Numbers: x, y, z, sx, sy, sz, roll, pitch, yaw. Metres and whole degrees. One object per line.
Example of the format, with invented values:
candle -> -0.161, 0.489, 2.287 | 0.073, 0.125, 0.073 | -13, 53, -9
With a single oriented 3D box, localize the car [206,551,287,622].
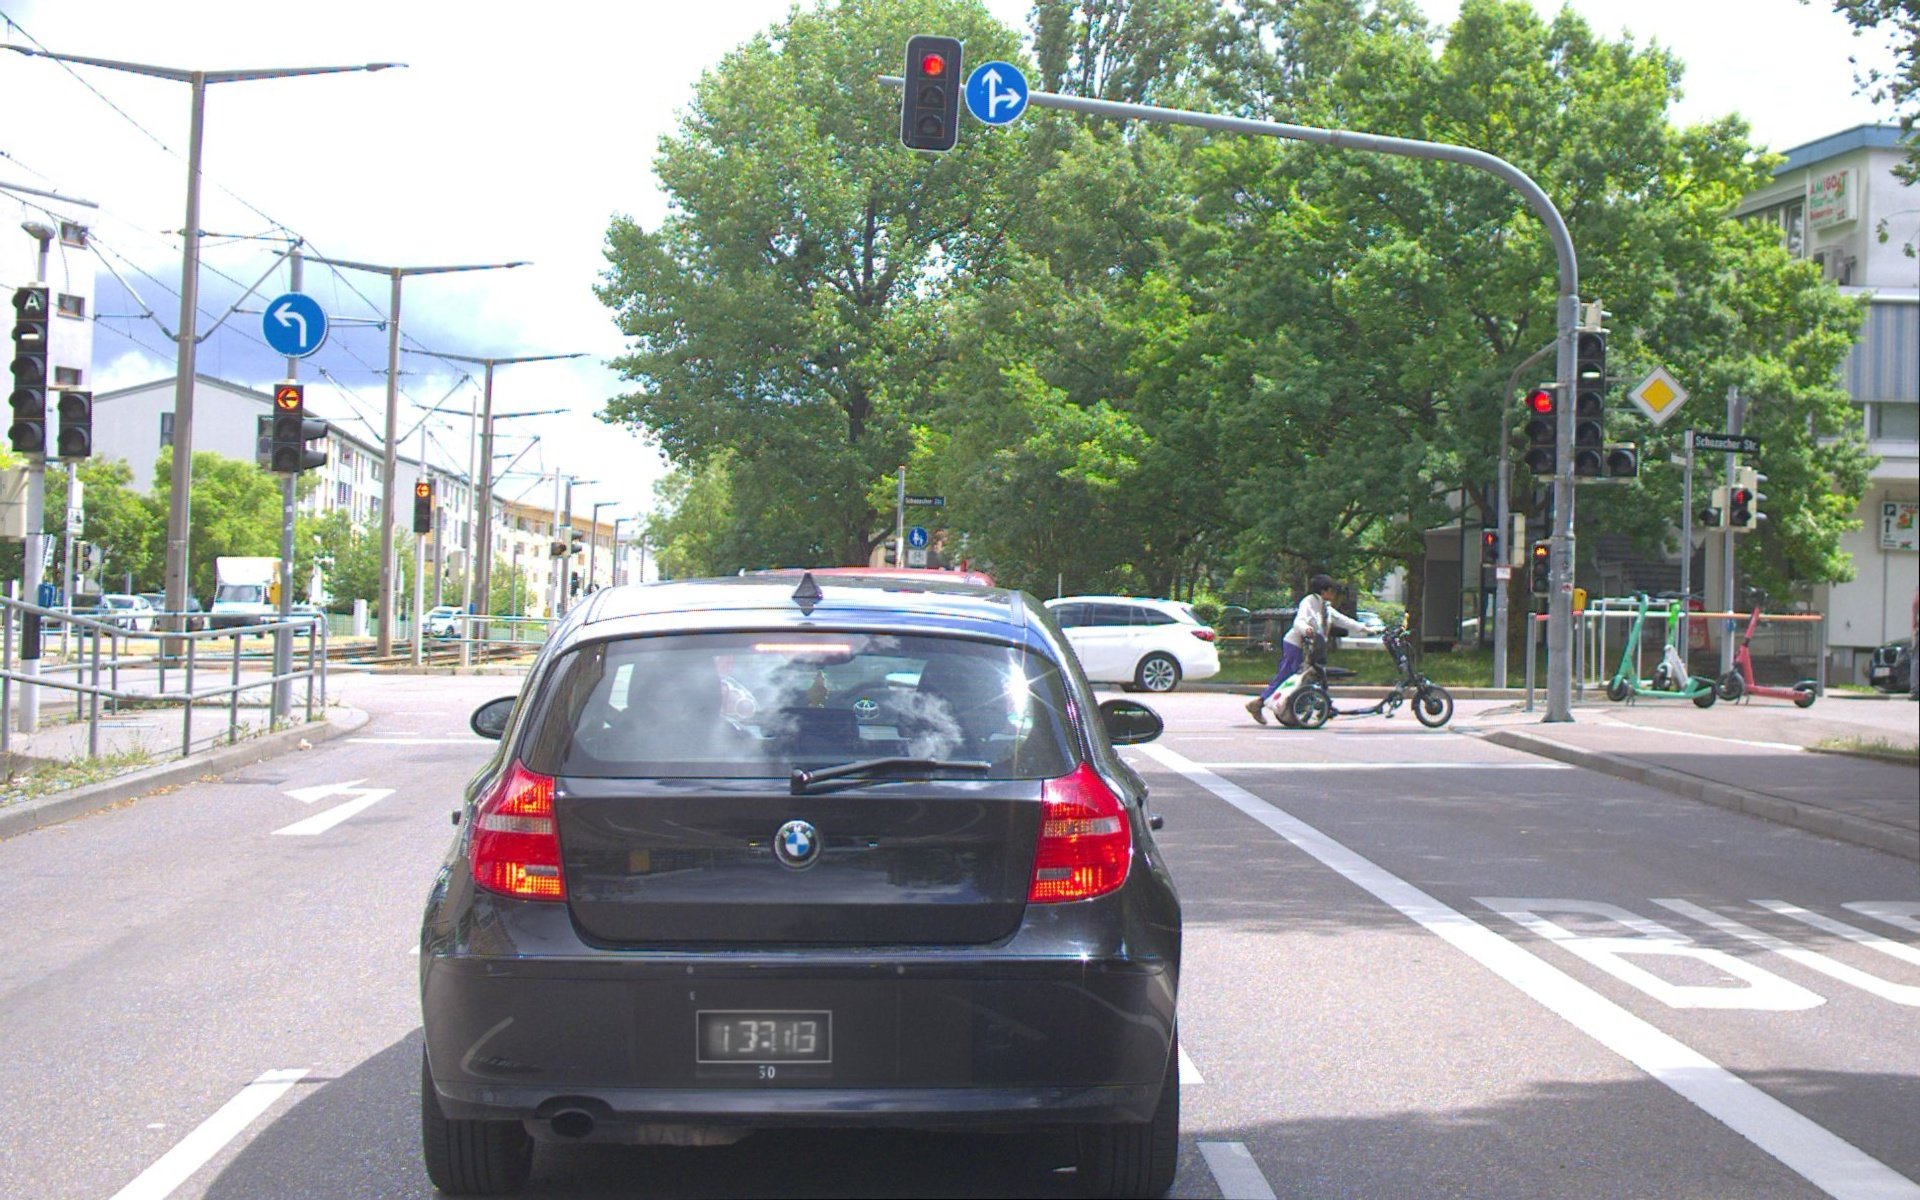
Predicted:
car -> -27.390, -0.549, 132.199 | 2.139, 2.631, 5.359 | 1, 1, -2

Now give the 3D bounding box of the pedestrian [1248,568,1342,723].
pedestrian -> 3.178, 0.424, 32.662 | 0.865, 1.438, 0.798 | 1, 1, 5

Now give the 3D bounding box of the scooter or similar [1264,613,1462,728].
scooter or similar -> 3.776, 0.659, 32.208 | 1.780, 1.047, 0.410 | 0, 1, -9

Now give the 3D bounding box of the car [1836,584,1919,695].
car -> 15.034, 0.588, 50.911 | 3.576, 1.595, 1.712 | 1, 0, -12

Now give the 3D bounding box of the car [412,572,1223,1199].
car -> -0.261, 0.655, 8.821 | 1.654, 1.414, 3.517 | 1, 1, 1

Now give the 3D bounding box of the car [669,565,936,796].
car -> -1.050, 0.490, 23.297 | 1.654, 1.414, 3.517 | 1, 1, -2

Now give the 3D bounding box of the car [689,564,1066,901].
car -> -0.351, 0.548, 16.465 | 1.594, 1.414, 3.517 | 1, 1, 0

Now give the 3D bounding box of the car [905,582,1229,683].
car -> 1.606, 0.483, 52.406 | 4.638, 1.475, 2.001 | 0, 1, -9

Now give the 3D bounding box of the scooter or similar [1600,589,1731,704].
scooter or similar -> 7.314, 0.479, 35.645 | 1.287, 1.185, 0.385 | 0, 1, -16

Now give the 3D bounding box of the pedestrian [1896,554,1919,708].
pedestrian -> 11.404, 0.374, 40.436 | 0.614, 1.784, 0.568 | 5, 0, 18

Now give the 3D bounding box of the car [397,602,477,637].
car -> -24.912, 0.917, 163.801 | 1.969, 1.590, 3.995 | 1, 1, 23

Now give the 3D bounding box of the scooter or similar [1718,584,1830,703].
scooter or similar -> 8.641, 0.462, 36.495 | 1.106, 1.253, 0.332 | 0, 1, -12

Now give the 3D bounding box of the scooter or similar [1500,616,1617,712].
scooter or similar -> 5.986, 0.637, 34.379 | 1.119, 0.954, 0.300 | 0, 1, -16
